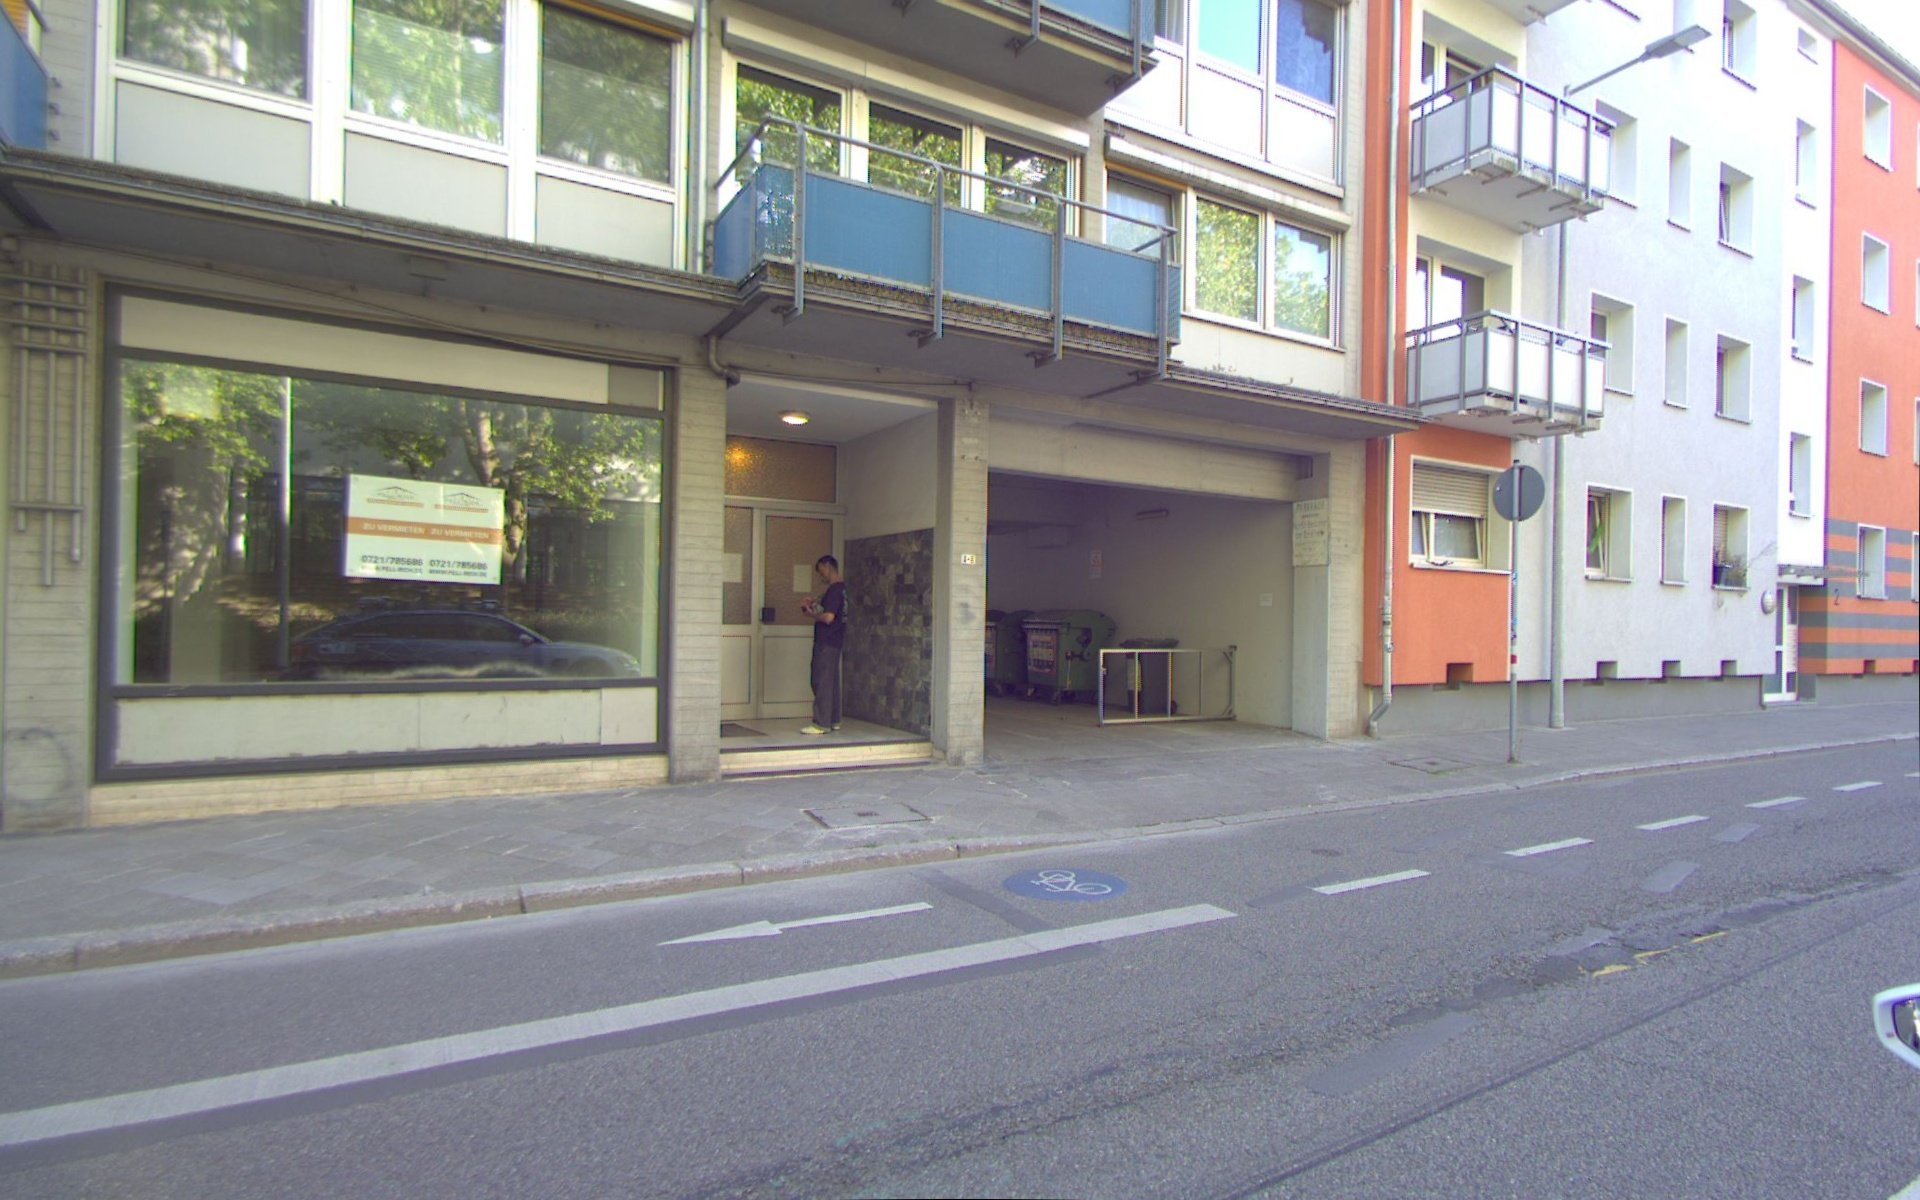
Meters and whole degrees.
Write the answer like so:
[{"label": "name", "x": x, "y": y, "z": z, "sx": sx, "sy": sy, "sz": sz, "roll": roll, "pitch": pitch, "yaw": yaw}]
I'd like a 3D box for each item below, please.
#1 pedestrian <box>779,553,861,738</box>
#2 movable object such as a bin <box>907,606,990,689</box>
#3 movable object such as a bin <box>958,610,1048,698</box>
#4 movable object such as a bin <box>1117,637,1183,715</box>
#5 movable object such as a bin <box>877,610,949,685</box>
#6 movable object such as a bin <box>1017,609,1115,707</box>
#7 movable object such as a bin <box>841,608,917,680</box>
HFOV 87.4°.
[{"label": "pedestrian", "x": -1.386, "y": 0.436, "z": 9.988, "sx": 0.518, "sy": 1.764, "sz": 0.630, "roll": 1, "pitch": 0, "yaw": 27}, {"label": "movable object such as a bin", "x": -0.221, "y": 0.847, "z": 18.542, "sx": 1.011, "sy": 1.462, "sz": 1.318, "roll": 1, "pitch": 0, "yaw": -29}, {"label": "movable object such as a bin", "x": 0.713, "y": 0.886, "z": 17.032, "sx": 1.011, "sy": 1.409, "sz": 1.319, "roll": 1, "pitch": 0, "yaw": -27}, {"label": "movable object such as a bin", "x": 2.712, "y": 1.072, "z": 14.367, "sx": 0.704, "sy": 1.054, "sz": 0.583, "roll": 1, "pitch": 0, "yaw": -30}, {"label": "movable object such as a bin", "x": -0.919, "y": 0.905, "z": 19.559, "sx": 1.012, "sy": 1.409, "sz": 1.046, "roll": 1, "pitch": 0, "yaw": -31}, {"label": "movable object such as a bin", "x": 1.635, "y": 0.878, "z": 15.707, "sx": 1.009, "sy": 1.438, "sz": 1.321, "roll": 1, "pitch": 0, "yaw": -23}, {"label": "movable object such as a bin", "x": -1.665, "y": 0.883, "z": 20.543, "sx": 1.014, "sy": 1.409, "sz": 1.264, "roll": 1, "pitch": 0, "yaw": -37}]
